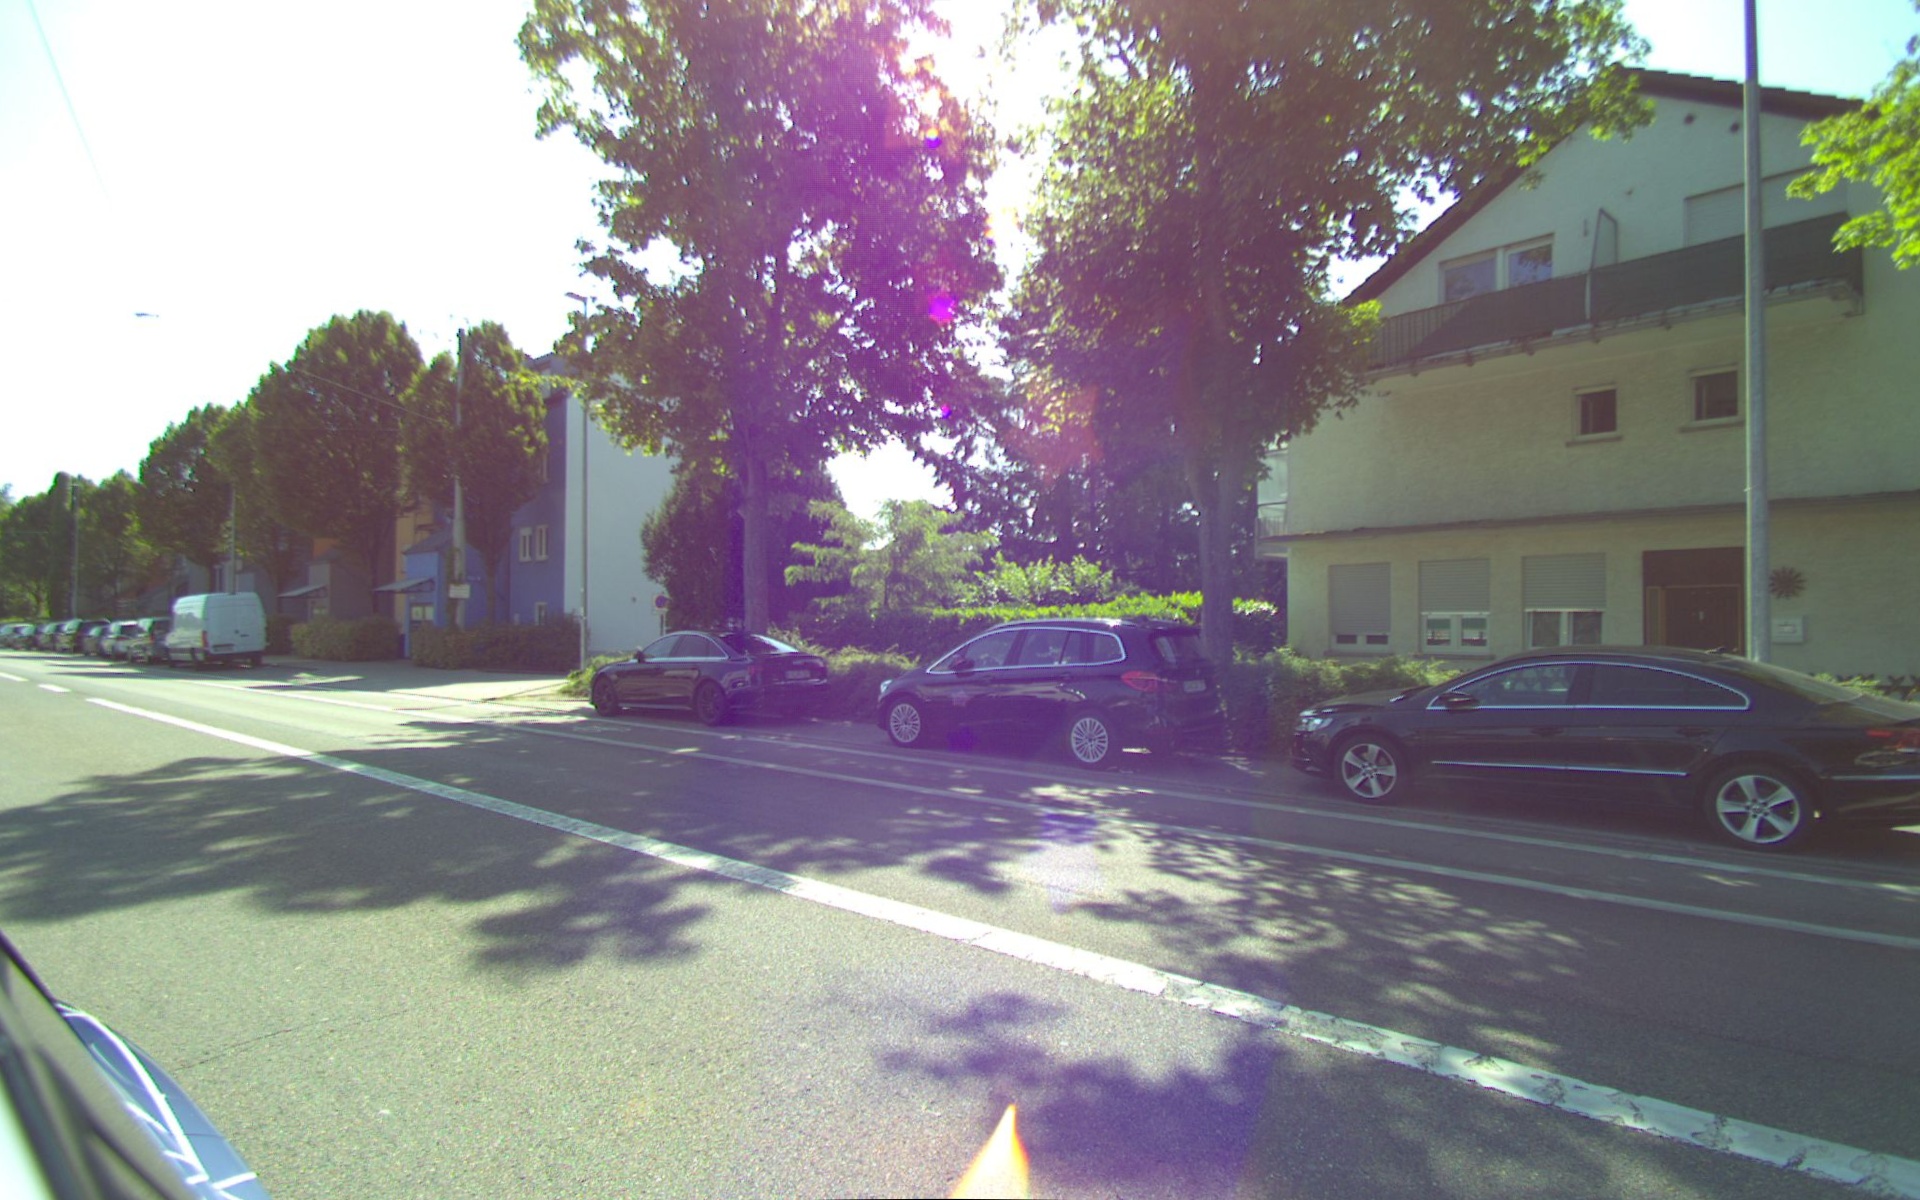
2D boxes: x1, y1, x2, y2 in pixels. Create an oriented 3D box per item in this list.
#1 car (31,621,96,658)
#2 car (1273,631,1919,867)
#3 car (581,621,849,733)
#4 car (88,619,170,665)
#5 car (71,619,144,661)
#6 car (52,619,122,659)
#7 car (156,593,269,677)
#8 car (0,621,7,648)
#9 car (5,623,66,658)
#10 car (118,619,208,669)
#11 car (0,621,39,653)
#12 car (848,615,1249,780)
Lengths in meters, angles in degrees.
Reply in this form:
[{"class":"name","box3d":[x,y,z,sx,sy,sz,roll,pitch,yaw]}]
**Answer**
[{"class":"car","box3d":[-50.236,2.193,56.687,4.766,1.818,1.974,-2,4,41]},{"class":"car","box3d":[5.213,1.008,8.440,4.619,1.426,1.844,-1,0,41]},{"class":"car","box3d":[-4.087,1.153,16.521,4.616,1.583,1.845,-1,-2,39]},{"class":"car","box3d":[-38.062,1.876,46.328,4.766,1.818,1.974,-2,4,41]},{"class":"car","box3d":[-42.133,1.942,50.002,4.254,1.818,1.974,-2,4,41]},{"class":"car","box3d":[-45.830,2.017,53.075,4.766,1.818,1.974,-2,4,41]},{"class":"car","box3d":[-27.378,1.238,36.963,6.213,2.713,1.973,-2,4,43]},{"class":"car","box3d":[-68.740,2.495,71.076,4.766,1.818,1.974,-2,4,41]},{"class":"car","box3d":[-54.913,2.378,60.107,4.766,1.818,1.974,-2,4,41]},{"class":"car","box3d":[-33.525,1.810,42.512,4.766,1.818,1.974,-2,4,41]},{"class":"car","box3d":[-60.245,2.353,64.242,4.766,1.818,1.974,-2,4,41]},{"class":"car","box3d":[0.907,1.015,12.230,4.619,1.583,1.844,-1,0,41]}]
